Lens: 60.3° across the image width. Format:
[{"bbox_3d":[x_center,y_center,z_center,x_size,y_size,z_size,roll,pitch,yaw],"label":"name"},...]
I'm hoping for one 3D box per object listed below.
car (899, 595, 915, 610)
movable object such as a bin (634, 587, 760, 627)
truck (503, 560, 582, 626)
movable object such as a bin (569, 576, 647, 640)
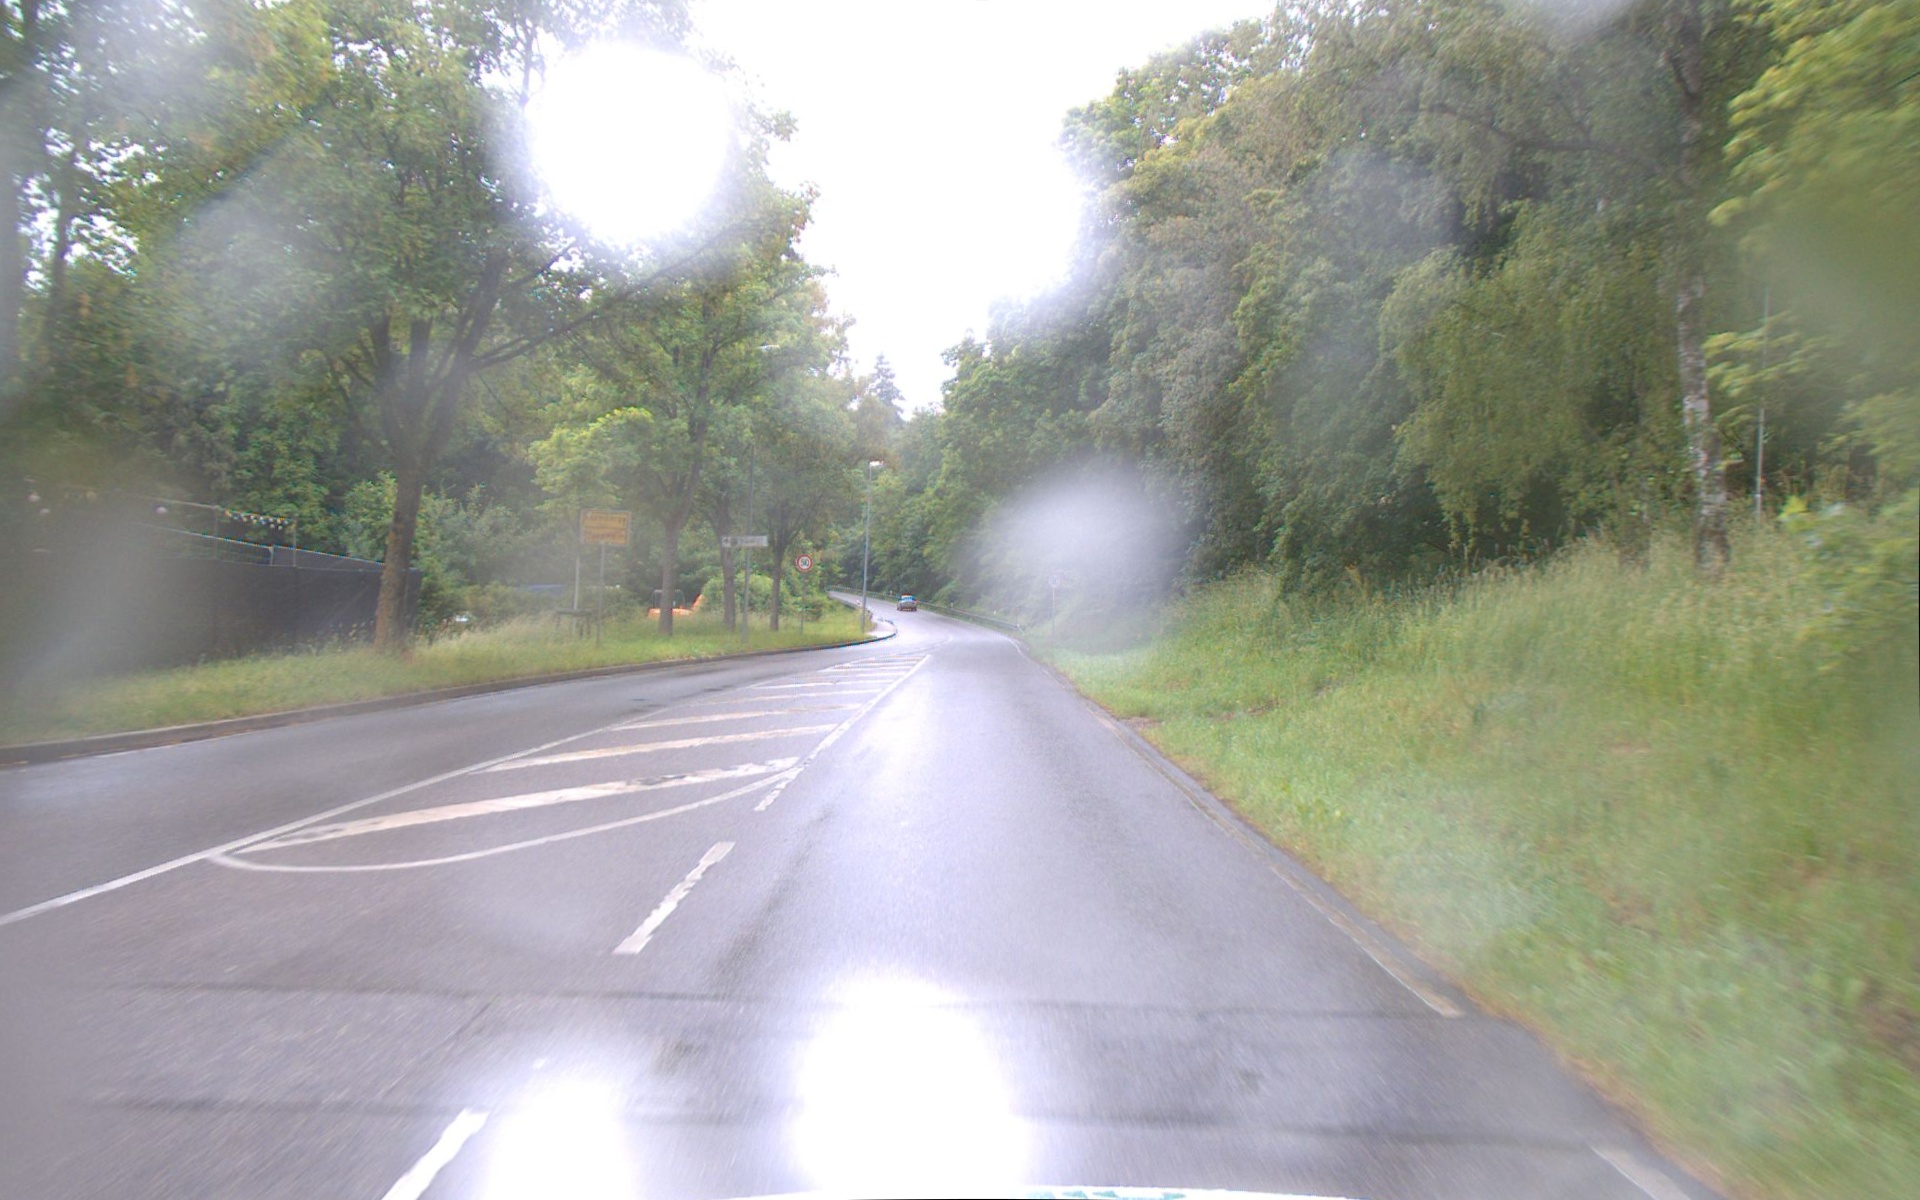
[{"bbox_3d":[-5.464,0.242,170.447,1.701,1.537,3.999,0,0,-2],"label":"car"},{"bbox_3d":[-13.502,0.394,85.753,1.812,1.941,7.890,1,-1,31],"label":"movable object such as a bin"},{"bbox_3d":[-16.985,-0.314,67.530,1.953,2.500,5.221,3,0,-2],"label":"truck"},{"bbox_3d":[-16.734,0.412,78.820,1.951,2.911,4.002,2,-1,15],"label":"movable object such as a bin"}]
